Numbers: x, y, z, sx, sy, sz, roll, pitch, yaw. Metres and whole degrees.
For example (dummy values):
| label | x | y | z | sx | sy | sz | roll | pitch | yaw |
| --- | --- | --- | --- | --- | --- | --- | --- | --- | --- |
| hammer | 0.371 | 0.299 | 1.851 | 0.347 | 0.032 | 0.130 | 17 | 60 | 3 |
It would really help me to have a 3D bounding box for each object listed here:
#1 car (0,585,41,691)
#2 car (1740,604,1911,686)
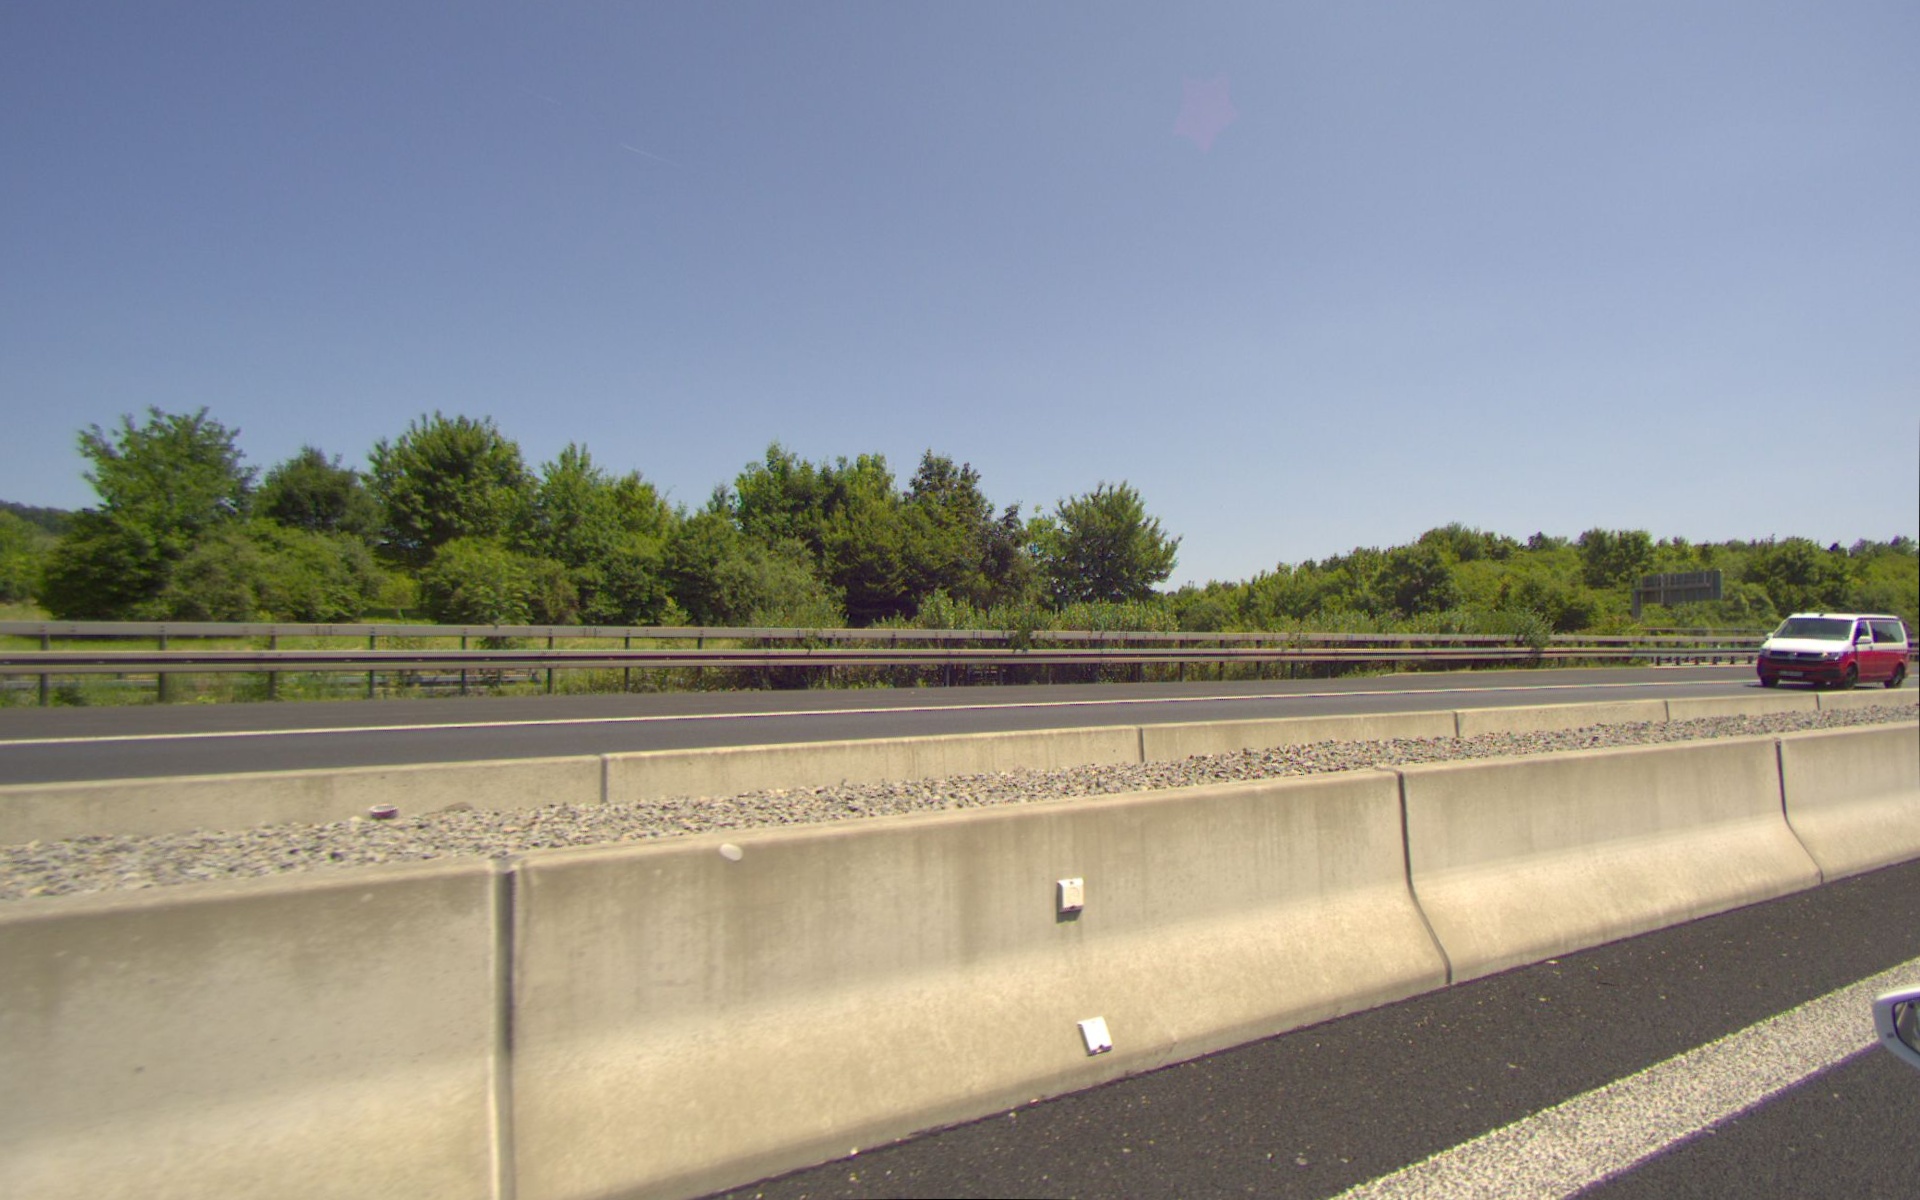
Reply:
| label | x | y | z | sx | sy | sz | roll | pitch | yaw |
| --- | --- | --- | --- | --- | --- | --- | --- | --- | --- |
| car | -18.368 | 0.575 | 16.846 | 3.953 | 1.790 | 1.984 | 2 | -1 | -30 |
| car | 23.352 | 1.207 | 27.046 | 5.320 | 2.040 | 1.983 | 2 | -1 | -32 |
